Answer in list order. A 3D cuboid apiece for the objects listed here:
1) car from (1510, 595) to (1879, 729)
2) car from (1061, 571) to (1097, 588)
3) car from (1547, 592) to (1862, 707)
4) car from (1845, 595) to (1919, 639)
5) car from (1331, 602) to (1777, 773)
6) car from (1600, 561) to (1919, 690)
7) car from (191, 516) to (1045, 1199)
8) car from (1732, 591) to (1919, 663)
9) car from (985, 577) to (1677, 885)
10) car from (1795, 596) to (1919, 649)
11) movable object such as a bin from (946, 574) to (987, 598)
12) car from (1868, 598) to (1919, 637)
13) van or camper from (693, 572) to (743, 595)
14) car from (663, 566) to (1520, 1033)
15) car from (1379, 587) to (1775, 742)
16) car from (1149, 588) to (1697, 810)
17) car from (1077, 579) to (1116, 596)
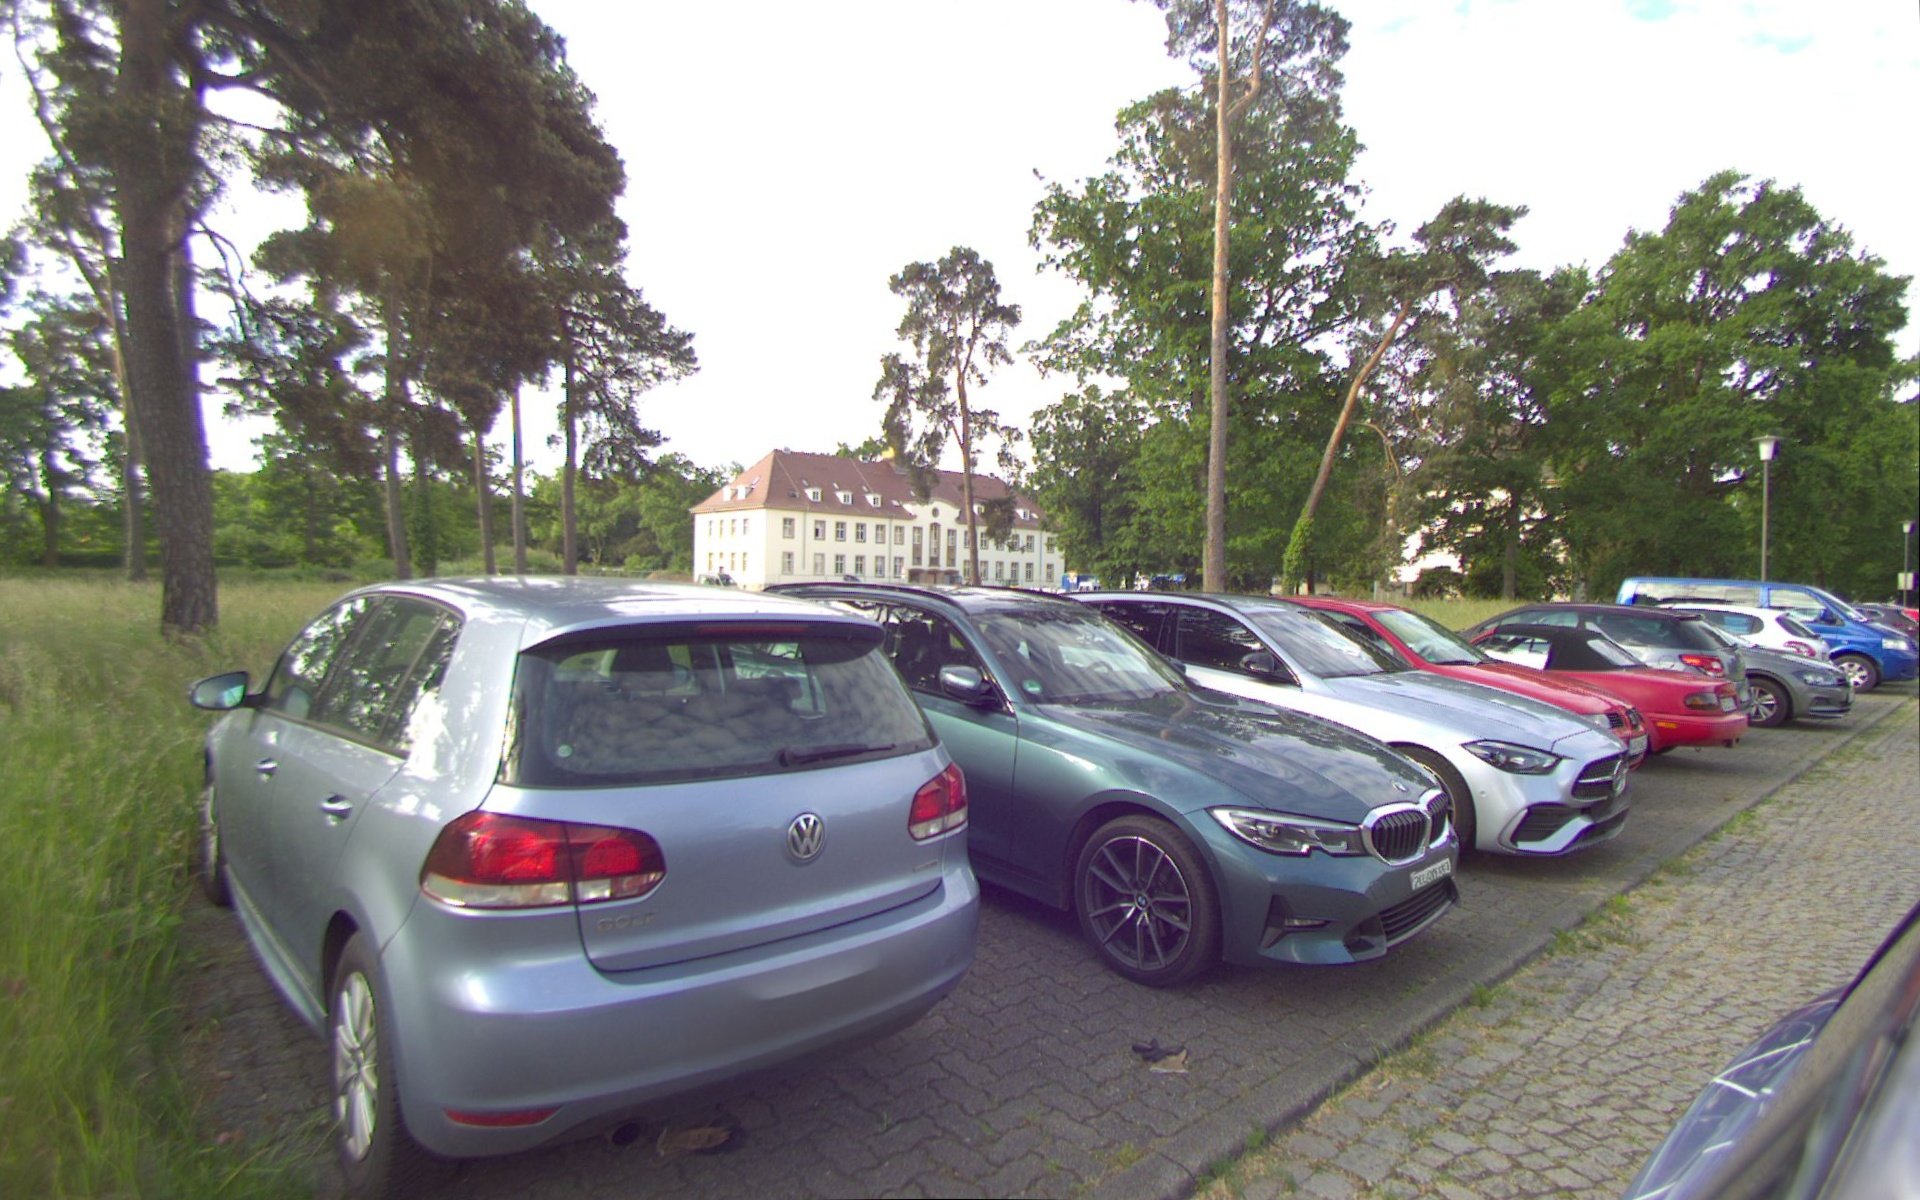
[{"bbox_3d":[9.840,0.715,13.792,1.613,1.484,3.780,0,1,-40],"label":"car"},{"bbox_3d":[14.565,-2.517,123.511,3.926,2.039,2.219,0,1,-37],"label":"car"},{"bbox_3d":[11.676,0.682,16.065,1.553,1.517,3.761,0,1,-40],"label":"car"},{"bbox_3d":[36.963,0.678,39.180,1.552,1.638,3.839,1,1,-37],"label":"car"},{"bbox_3d":[5.801,0.740,10.198,1.579,1.303,3.553,2,0,-40],"label":"car"},{"bbox_3d":[15.626,0.370,19.655,2.024,2.047,4.953,0,3,-41],"label":"car"},{"bbox_3d":[-1.658,0.539,3.877,1.615,1.489,3.846,0,1,-44],"label":"car"},{"bbox_3d":[21.887,0.632,25.392,3.830,1.621,1.556,2,1,45],"label":"car"},{"bbox_3d":[2.312,0.621,7.251,1.737,1.446,4.331,0,2,-43],"label":"car"},{"bbox_3d":[29.288,0.691,32.388,3.830,1.544,1.556,2,1,45],"label":"car"},{"bbox_3d":[0.805,-1.702,122.510,1.993,2.802,5.123,2,1,43],"label":"movable object such as a bin"},{"bbox_3d":[40.653,0.759,42.265,1.643,1.548,3.839,0,1,-37],"label":"car"},{"bbox_3d":[-25.099,-1.693,104.751,6.059,2.251,1.970,2,1,42],"label":"van or camper"},{"bbox_3d":[0.294,0.591,5.524,1.778,1.502,4.516,0,1,-44],"label":"car"},{"bbox_3d":[7.348,0.644,12.350,1.577,1.522,3.834,0,1,-42],"label":"car"},{"bbox_3d":[3.857,0.658,9.019,1.690,1.441,4.115,0,1,-41],"label":"car"},{"bbox_3d":[14.170,-1.311,104.861,3.866,1.704,1.847,0,3,-39],"label":"car"}]
